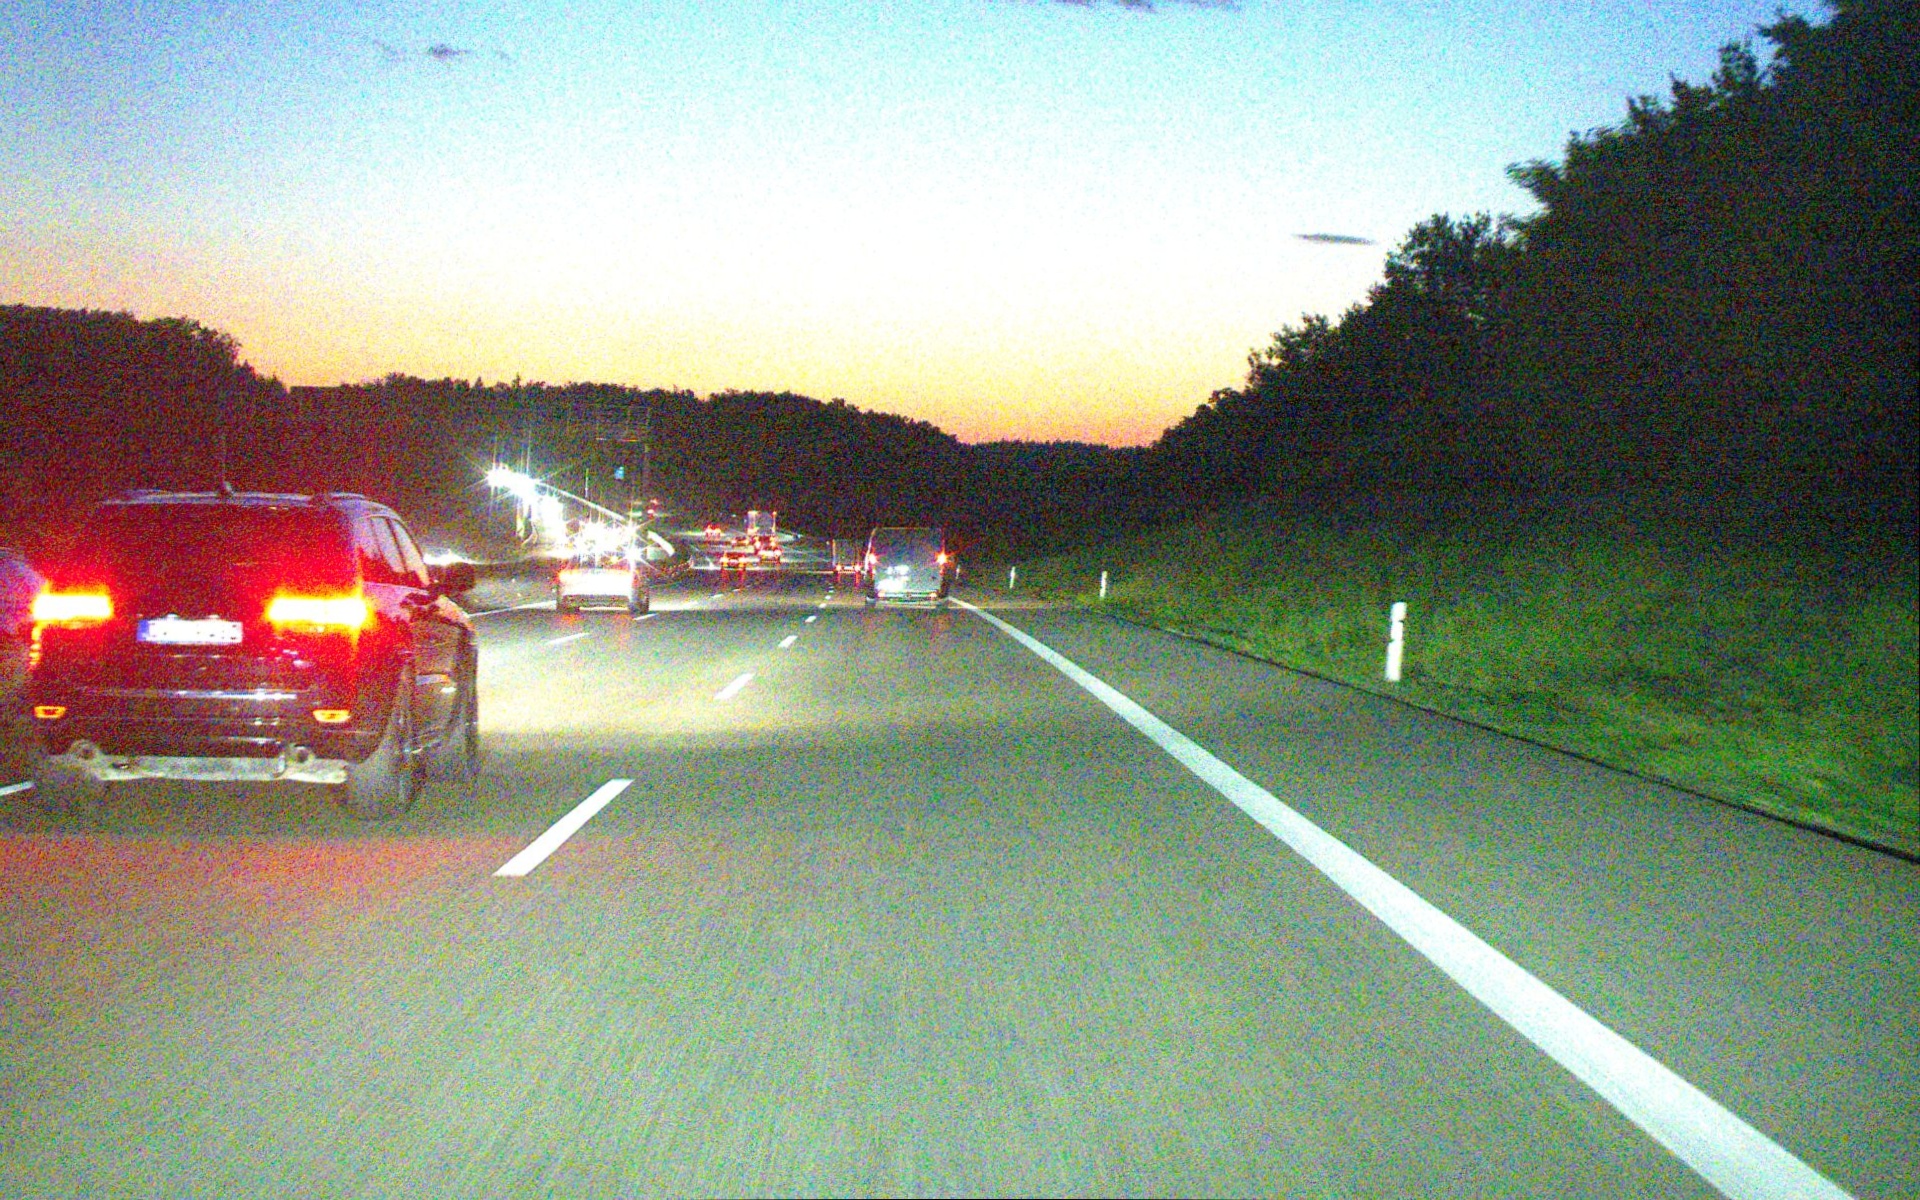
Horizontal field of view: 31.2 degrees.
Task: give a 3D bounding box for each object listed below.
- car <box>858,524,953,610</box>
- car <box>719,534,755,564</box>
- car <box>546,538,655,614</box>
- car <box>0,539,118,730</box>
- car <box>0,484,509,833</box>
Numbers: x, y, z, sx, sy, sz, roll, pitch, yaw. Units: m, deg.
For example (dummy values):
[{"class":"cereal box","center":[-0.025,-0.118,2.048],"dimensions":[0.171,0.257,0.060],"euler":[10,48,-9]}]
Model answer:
[{"class":"car","center":[-1.288,-0.826,82.173],"dimensions":[2.196,1.948,4.764],"euler":[0,2,0]},{"class":"car","center":[-16.052,-3.692,247.801],"dimensions":[2.196,1.948,4.634],"euler":[3,2,0]},{"class":"car","center":[-7.977,-0.567,76.701],"dimensions":[1.779,1.481,5.254],"euler":[3,2,0]},{"class":"car","center":[-7.974,0.239,27.034],"dimensions":[1.549,1.426,5.515],"euler":[0,1,-2]},{"class":"car","center":[-3.922,0.255,19.924],"dimensions":[1.993,1.715,5.943],"euler":[0,1,-2]}]
